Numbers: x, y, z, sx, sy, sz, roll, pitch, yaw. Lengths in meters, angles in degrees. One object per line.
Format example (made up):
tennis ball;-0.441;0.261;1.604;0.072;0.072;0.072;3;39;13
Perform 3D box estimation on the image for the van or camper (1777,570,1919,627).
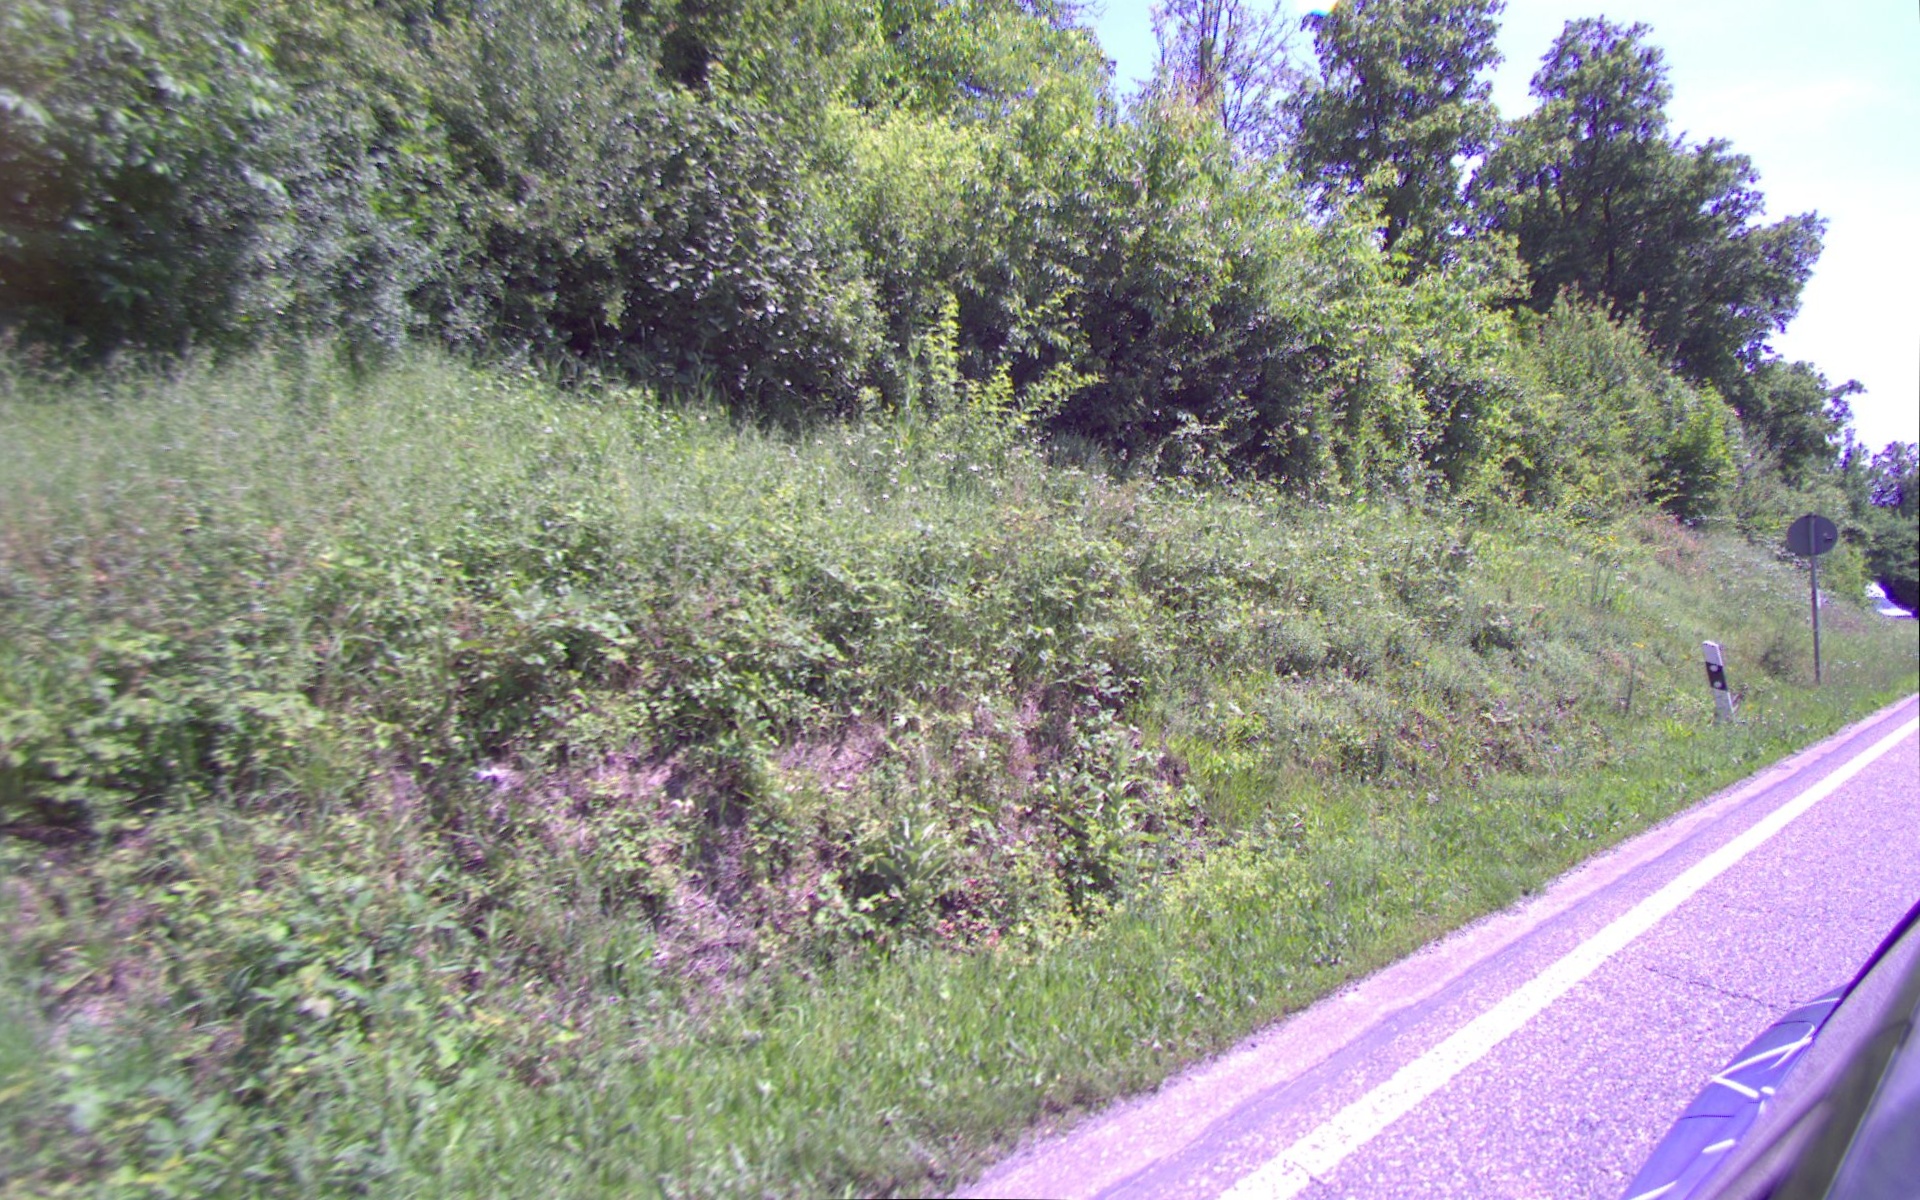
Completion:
van or camper;54.173;-0.009;61.482;2.061;3.253;7.265;-1;-1;-12
